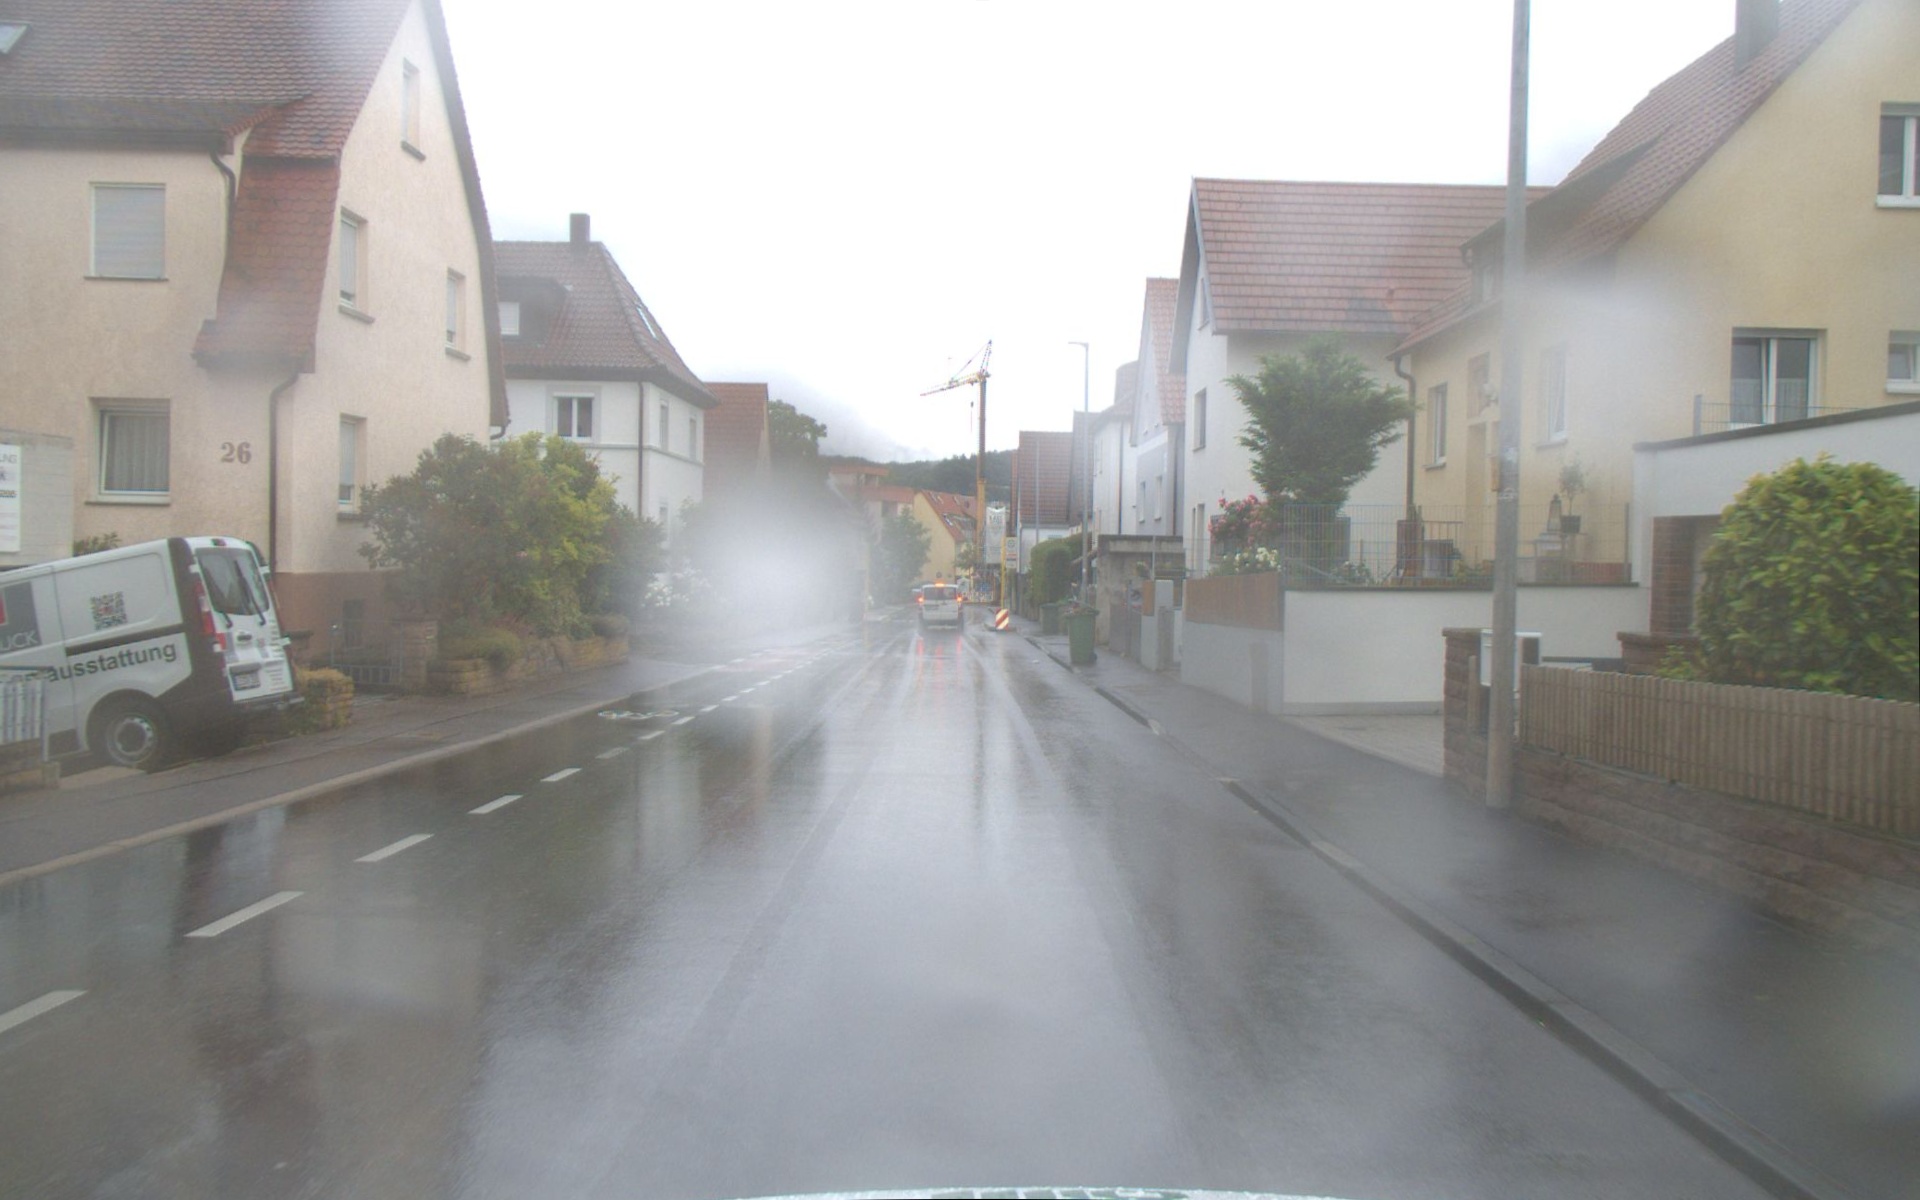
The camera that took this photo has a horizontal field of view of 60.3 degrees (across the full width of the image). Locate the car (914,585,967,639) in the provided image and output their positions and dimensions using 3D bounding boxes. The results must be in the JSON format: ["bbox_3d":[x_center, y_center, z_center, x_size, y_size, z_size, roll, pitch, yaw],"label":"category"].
[{"bbox_3d":[-0.791,0.480,68.978,2.074,1.920,4.503,2,3,0],"label":"car"}]

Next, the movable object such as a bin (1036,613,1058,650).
[{"bbox_3d":[3.245,1.171,61.494,0.769,1.299,0.714,2,2,4],"label":"movable object such as a bin"}]

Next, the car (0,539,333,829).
[{"bbox_3d":[-8.497,0.911,15.027,4.469,2.045,2.160,-11,3,-1],"label":"car"}]

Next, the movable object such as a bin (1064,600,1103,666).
[{"bbox_3d":[2.561,0.684,34.316,0.730,1.301,0.882,0,3,0],"label":"movable object such as a bin"}]

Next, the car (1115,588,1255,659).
[{"bbox_3d":[5.706,0.593,42.236,3.305,1.590,1.515,2,3,-1],"label":"car"}]

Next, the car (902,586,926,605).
[{"bbox_3d":[-4.345,-0.465,158.081,1.803,1.605,4.293,2,3,4],"label":"car"}]

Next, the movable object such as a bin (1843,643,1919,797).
[{"bbox_3d":[7.241,0.907,12.605,0.637,1.091,0.628,2,2,-1],"label":"movable object such as a bin"}]

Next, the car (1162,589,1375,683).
[{"bbox_3d":[5.384,0.608,29.150,3.423,1.548,1.739,0,1,-1],"label":"car"}]

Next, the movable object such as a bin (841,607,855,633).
[{"bbox_3d":[-5.655,0.991,83.677,0.669,1.244,0.639,2,2,-5],"label":"movable object such as a bin"}]

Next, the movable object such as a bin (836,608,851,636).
[{"bbox_3d":[-5.842,1.085,82.886,0.669,1.345,0.639,2,2,-5],"label":"movable object such as a bin"}]
